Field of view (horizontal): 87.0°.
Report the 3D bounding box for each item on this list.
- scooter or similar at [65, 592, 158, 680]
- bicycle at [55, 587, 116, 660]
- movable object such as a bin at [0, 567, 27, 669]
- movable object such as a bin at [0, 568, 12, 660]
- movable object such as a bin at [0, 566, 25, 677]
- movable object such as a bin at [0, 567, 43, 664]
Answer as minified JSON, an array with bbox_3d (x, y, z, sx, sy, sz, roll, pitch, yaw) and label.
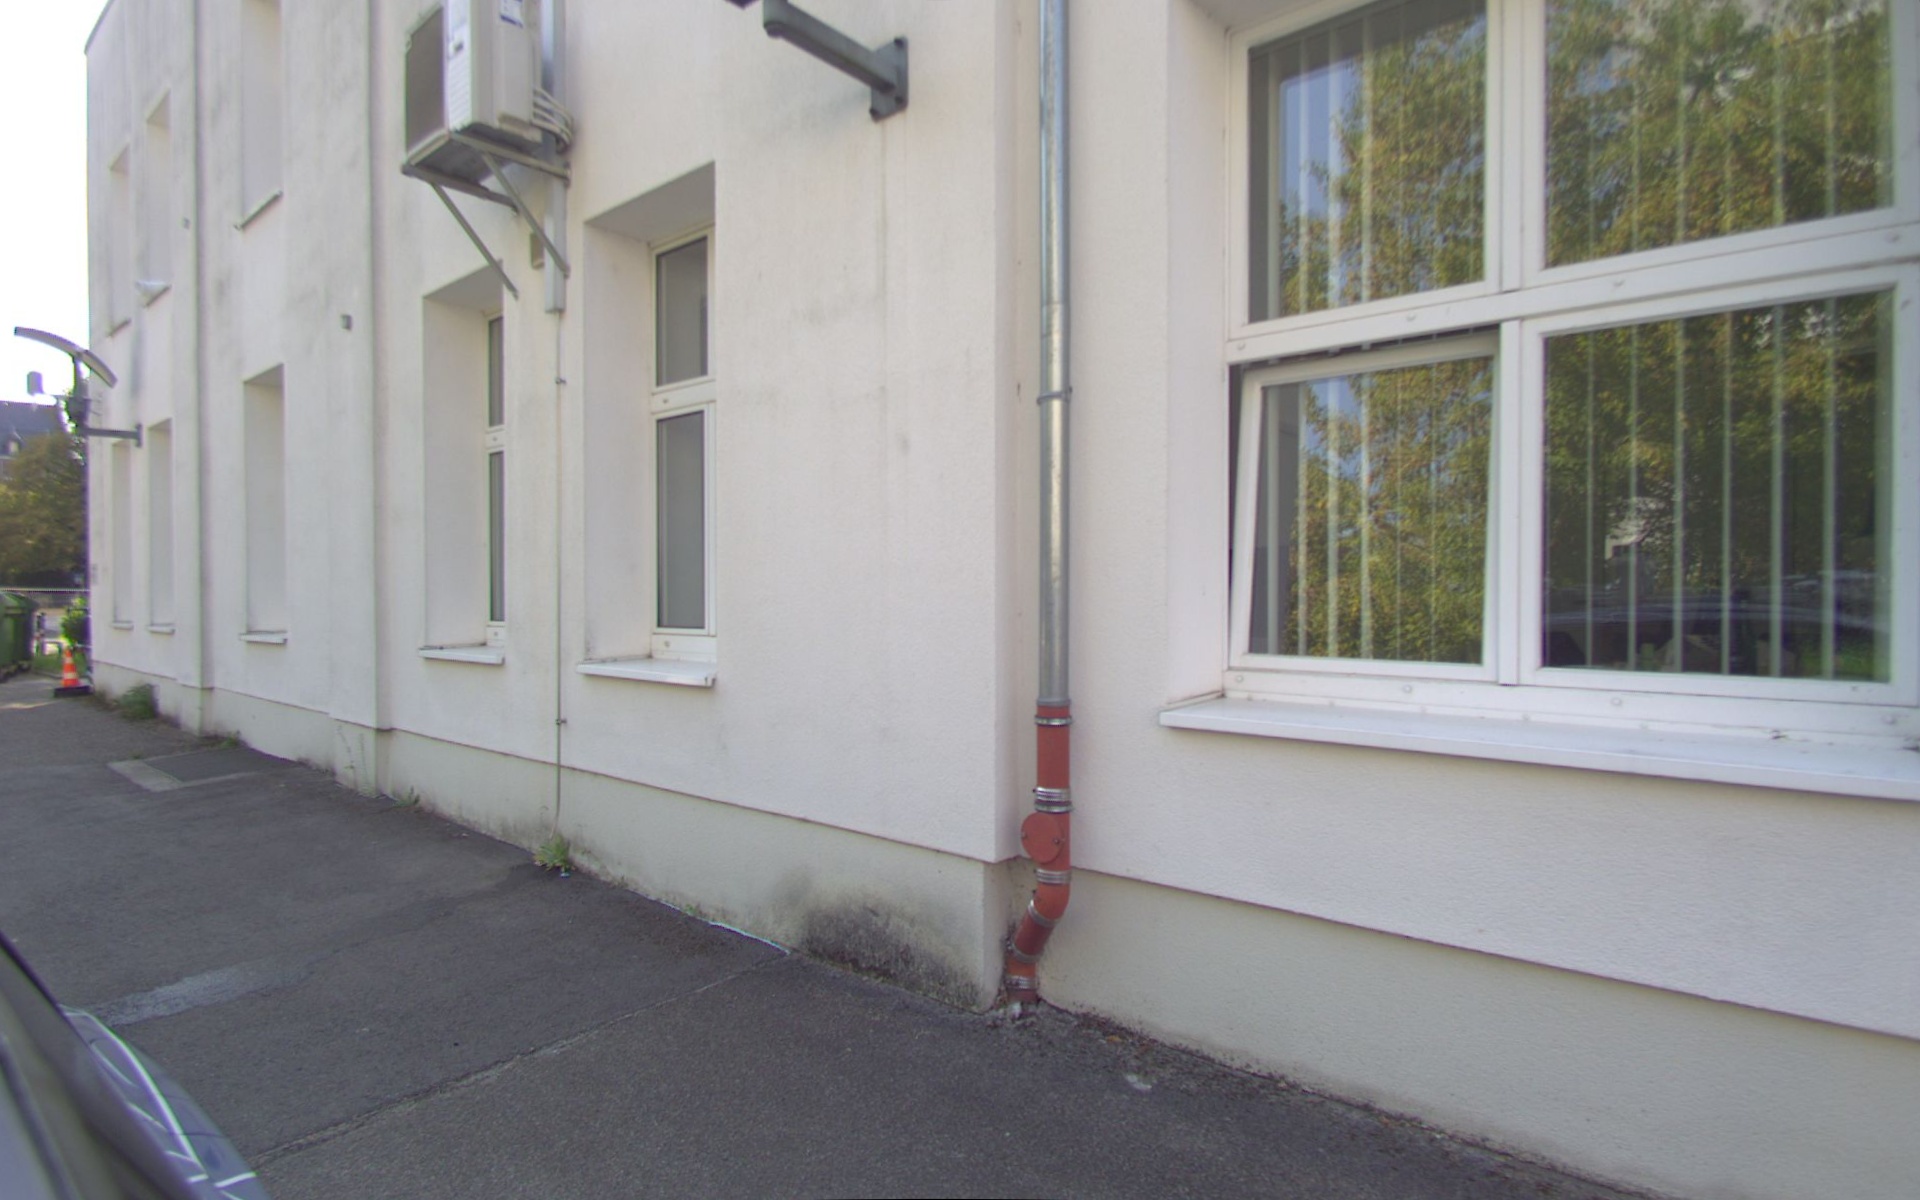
[{"bbox_3d":[-12.601,0.516,15.022,1.485,1.271,0.383,0,1,21],"label":"scooter or similar"},{"bbox_3d":[-15.619,0.387,18.056,2.006,1.222,0.471,1,2,39],"label":"bicycle"},{"bbox_3d":[-16.703,0.297,17.202,1.395,1.718,1.167,1,2,45],"label":"movable object such as a bin"},{"bbox_3d":[-18.812,0.261,19.052,1.375,1.718,1.170,1,1,37],"label":"movable object such as a bin"},{"bbox_3d":[-15.547,0.326,15.783,1.375,1.718,1.170,1,1,37],"label":"movable object such as a bin"},{"bbox_3d":[-17.586,0.273,18.337,1.375,1.718,1.170,1,1,37],"label":"movable object such as a bin"}]
